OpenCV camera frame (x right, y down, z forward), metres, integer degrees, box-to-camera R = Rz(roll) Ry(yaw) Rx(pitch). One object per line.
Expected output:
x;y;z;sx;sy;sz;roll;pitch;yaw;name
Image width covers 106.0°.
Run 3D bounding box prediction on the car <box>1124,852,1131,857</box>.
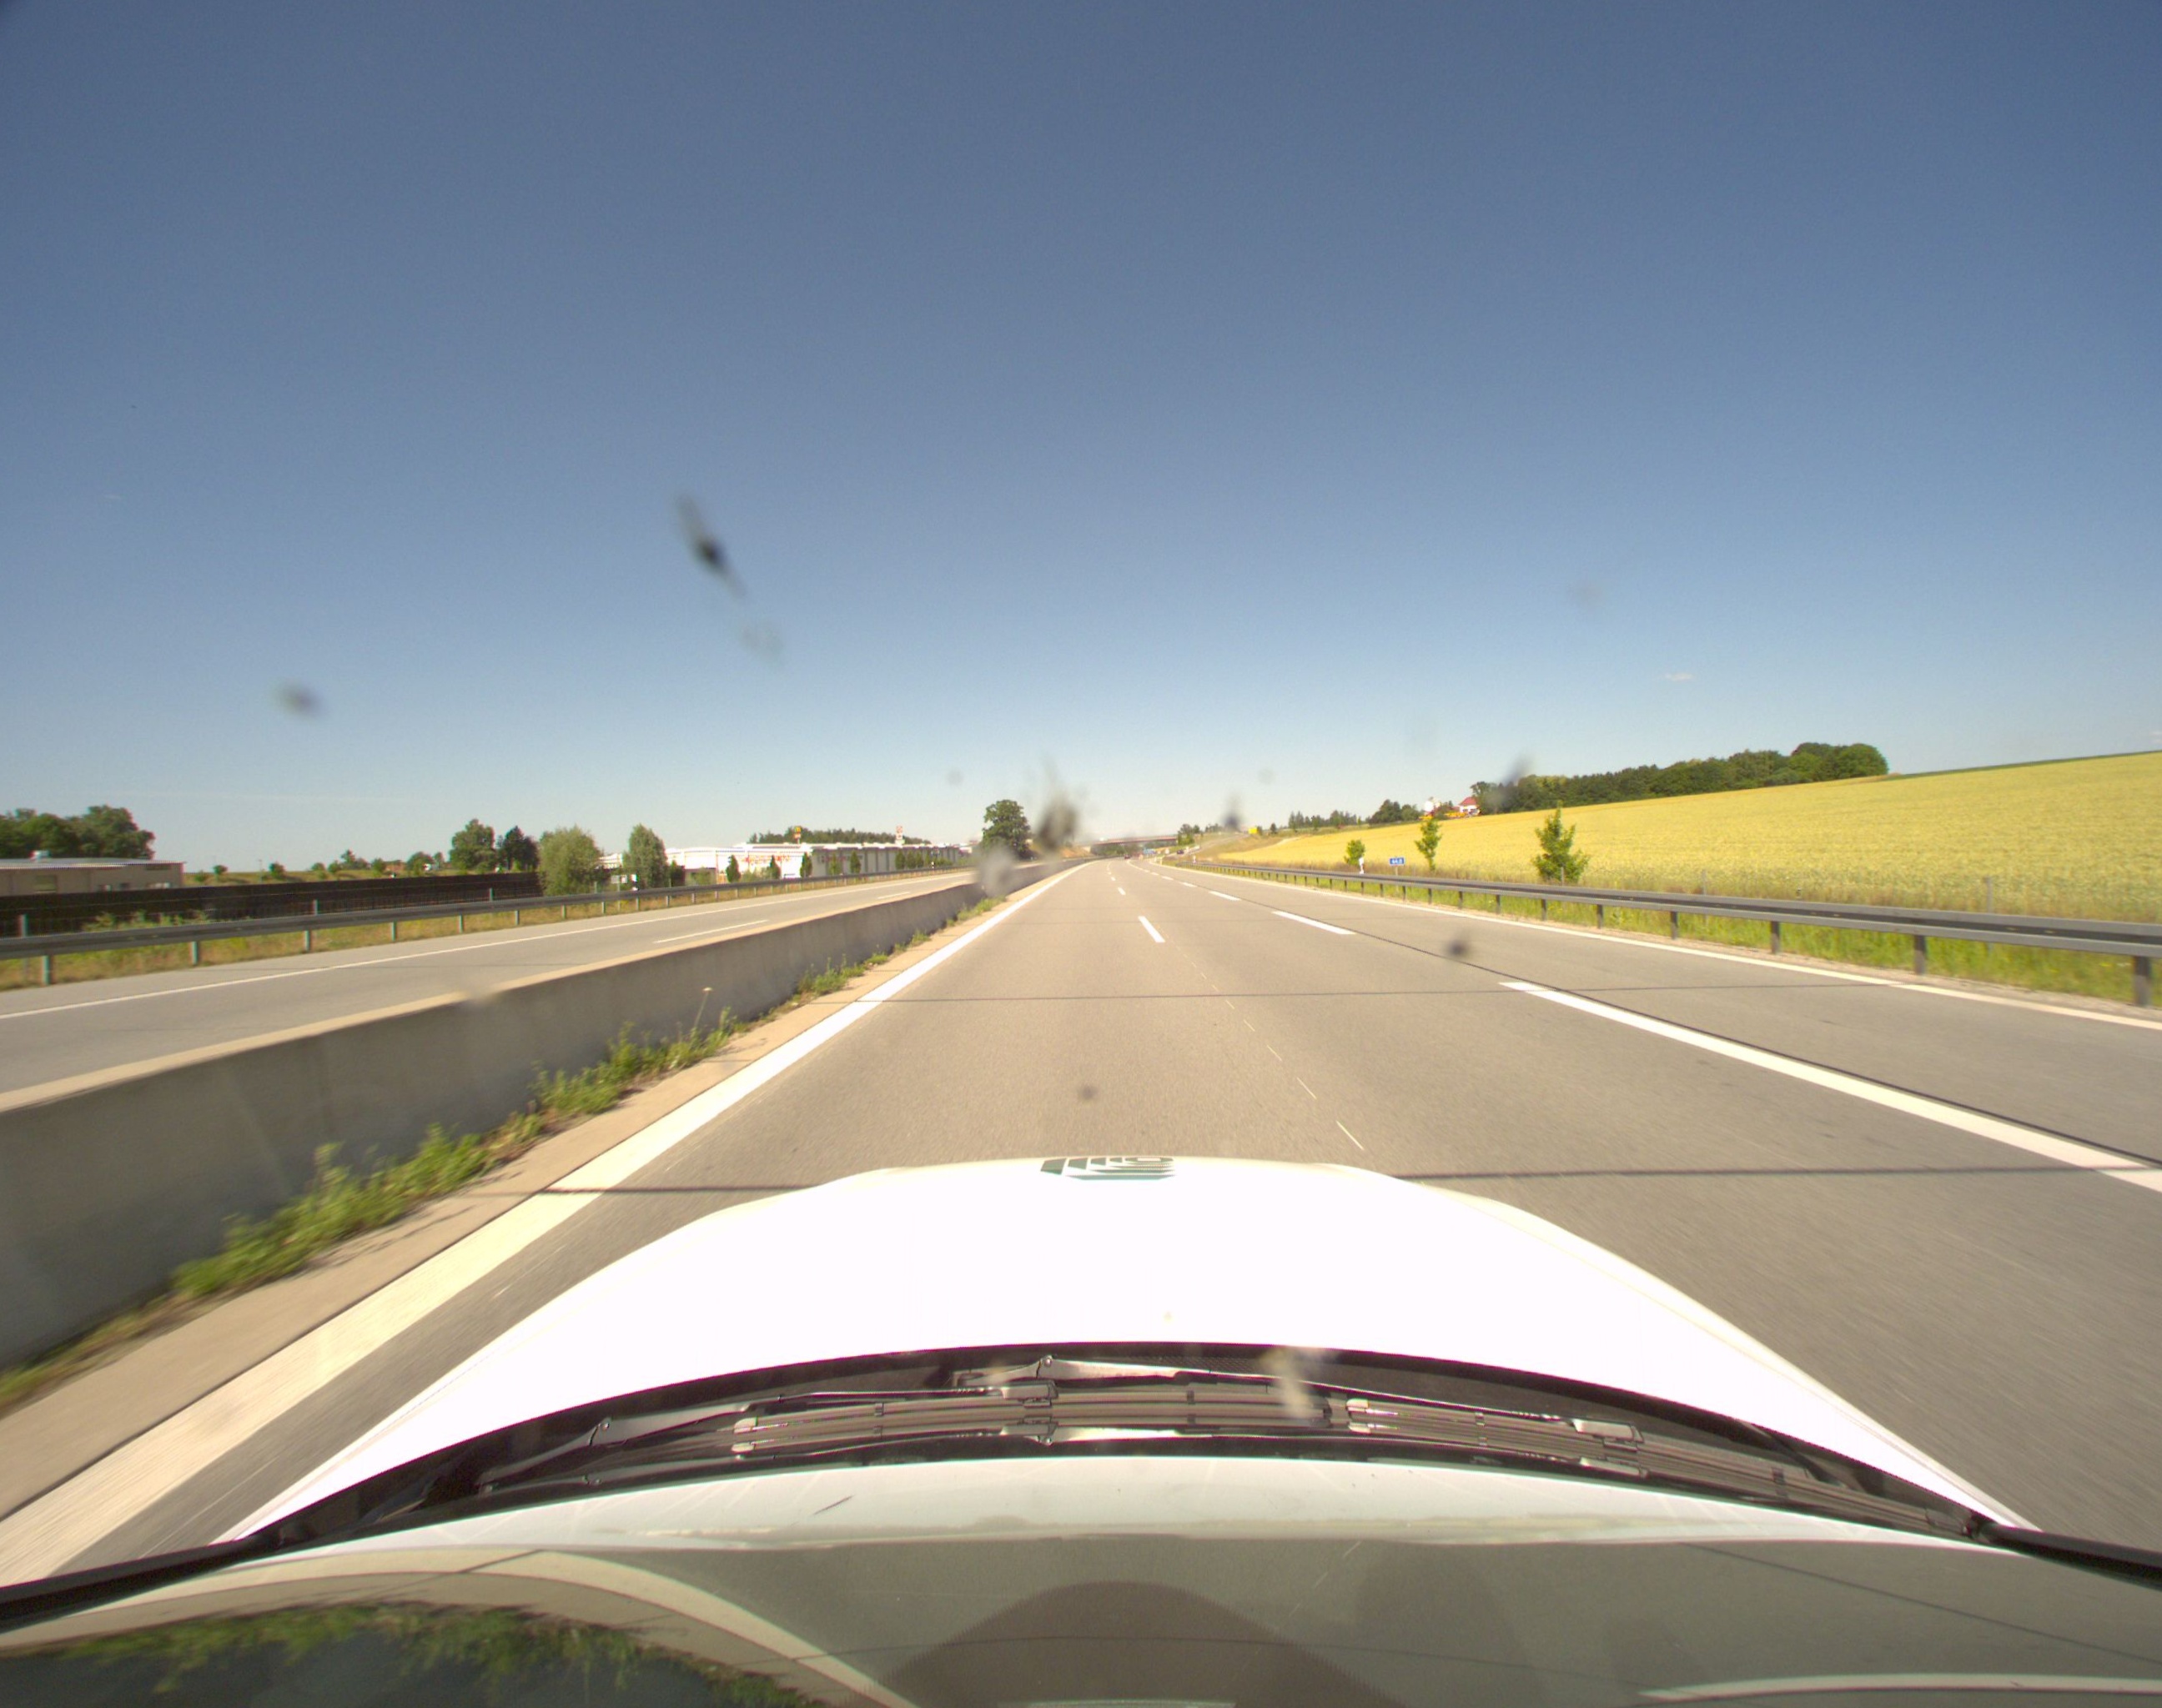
14.785;0.230;256.726;1.984;1.420;4.005;-3;0;5;car
